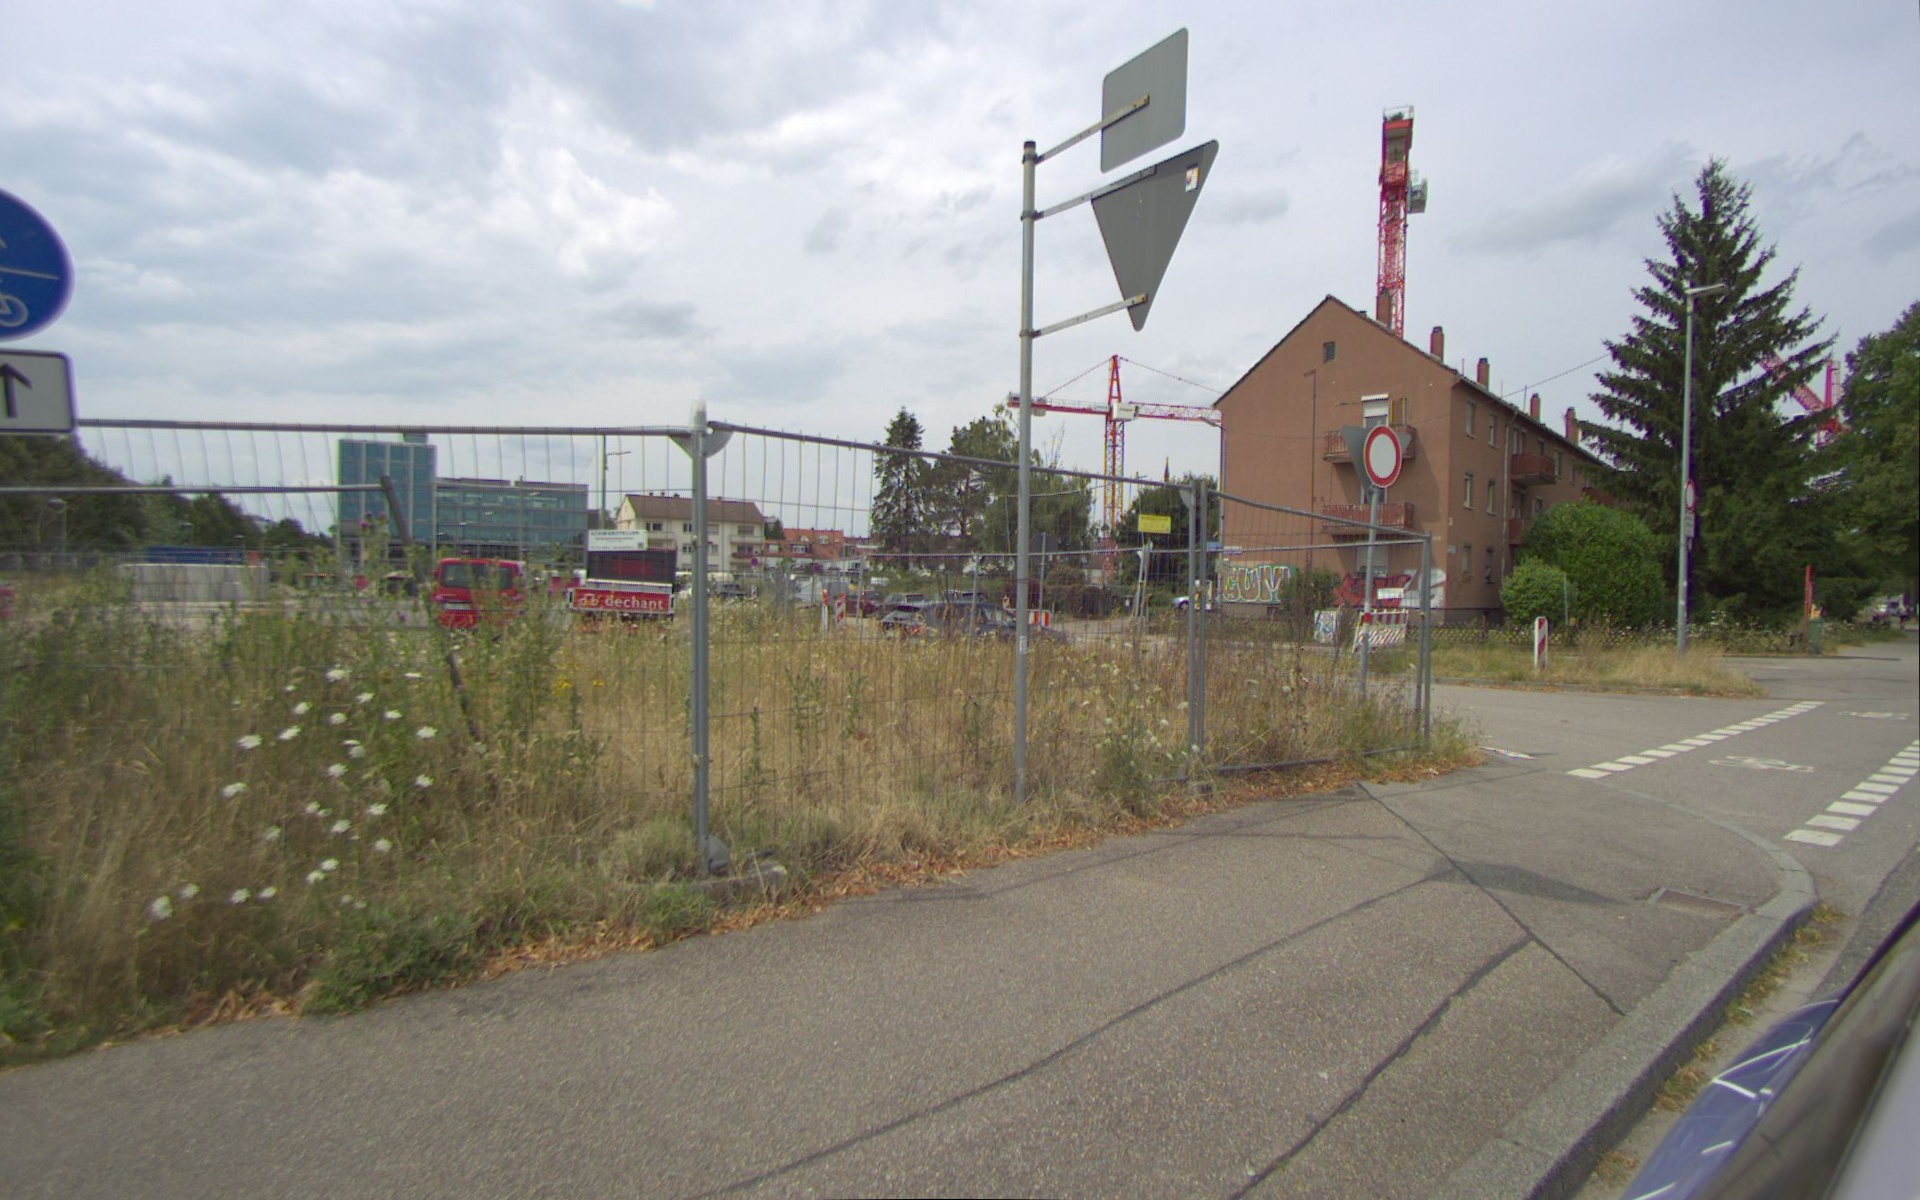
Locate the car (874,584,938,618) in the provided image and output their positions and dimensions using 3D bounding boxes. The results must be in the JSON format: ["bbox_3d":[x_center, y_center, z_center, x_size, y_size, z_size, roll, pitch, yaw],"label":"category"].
[{"bbox_3d":[-2.792,0.042,51.435,1.765,1.622,4.020,0,1,-26],"label":"car"}]

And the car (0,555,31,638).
[{"bbox_3d":[-21.190,-0.098,19.198,5.041,1.624,1.790,0,1,-35],"label":"car"}]

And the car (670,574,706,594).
[{"bbox_3d":[-21.973,-1.336,81.667,1.820,1.554,4.017,0,1,-31],"label":"car"}]

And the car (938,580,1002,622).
[{"bbox_3d":[0.415,0.021,47.046,1.764,1.872,4.009,1,1,-17],"label":"car"}]

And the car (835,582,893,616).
[{"bbox_3d":[-5.353,-0.086,55.861,1.819,1.771,4.020,0,1,-27],"label":"car"}]

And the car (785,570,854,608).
[{"bbox_3d":[-8.446,-0.675,60.630,2.107,2.163,4.910,0,1,-35],"label":"car"}]

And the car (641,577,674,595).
[{"bbox_3d":[-27.103,-1.275,90.628,1.820,1.554,4.017,0,1,-31],"label":"car"}]

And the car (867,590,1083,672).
[{"bbox_3d":[0.359,0.574,20.717,4.178,1.492,1.767,0,1,-35],"label":"car"}]

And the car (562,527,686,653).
[{"bbox_3d":[-7.462,-0.251,22.941,2.269,2.442,6.557,1,1,-16],"label":"car"}]

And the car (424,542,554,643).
[{"bbox_3d":[-10.381,-0.181,22.668,1.896,1.934,4.999,3,0,-17],"label":"car"}]

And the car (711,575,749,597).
[{"bbox_3d":[-17.267,-1.066,75.852,1.820,1.525,4.019,0,1,-28],"label":"car"}]

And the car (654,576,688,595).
[{"bbox_3d":[-24.755,-1.237,86.522,1.820,1.554,4.017,0,1,-31],"label":"car"}]

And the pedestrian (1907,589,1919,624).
[{"bbox_3d":[57.318,0.401,60.614,0.853,2.039,0.720,1,0,42],"label":"pedestrian"}]
